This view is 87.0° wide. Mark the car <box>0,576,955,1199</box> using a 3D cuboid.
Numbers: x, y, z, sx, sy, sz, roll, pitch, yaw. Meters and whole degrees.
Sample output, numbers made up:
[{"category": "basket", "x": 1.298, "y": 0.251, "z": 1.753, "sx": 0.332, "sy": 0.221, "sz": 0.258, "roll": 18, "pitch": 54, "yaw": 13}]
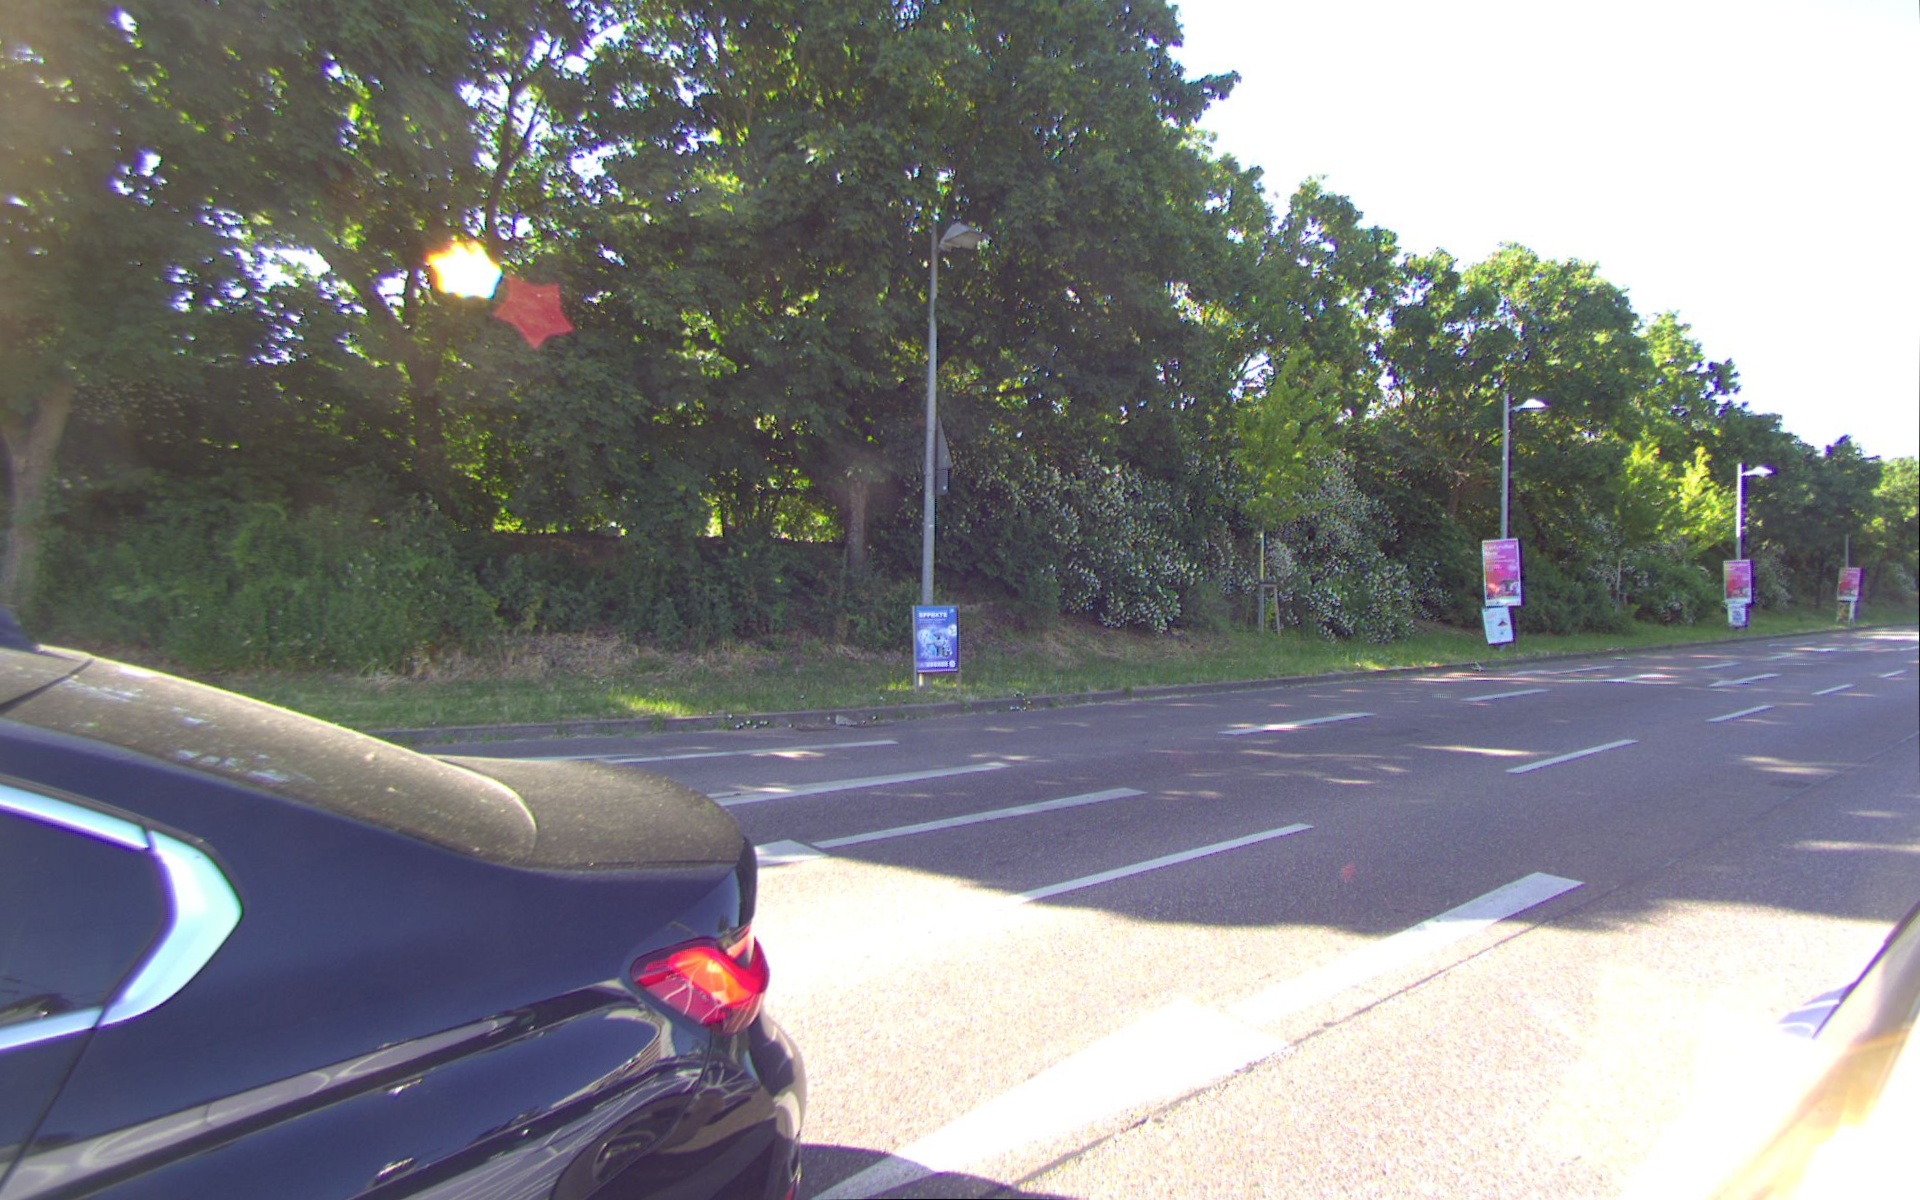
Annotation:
[{"category": "car", "x": -2.282, "y": 0.682, "z": 0.950, "sx": 4.364, "sy": 1.415, "sz": 1.874, "roll": 0, "pitch": 1, "yaw": -40}]
